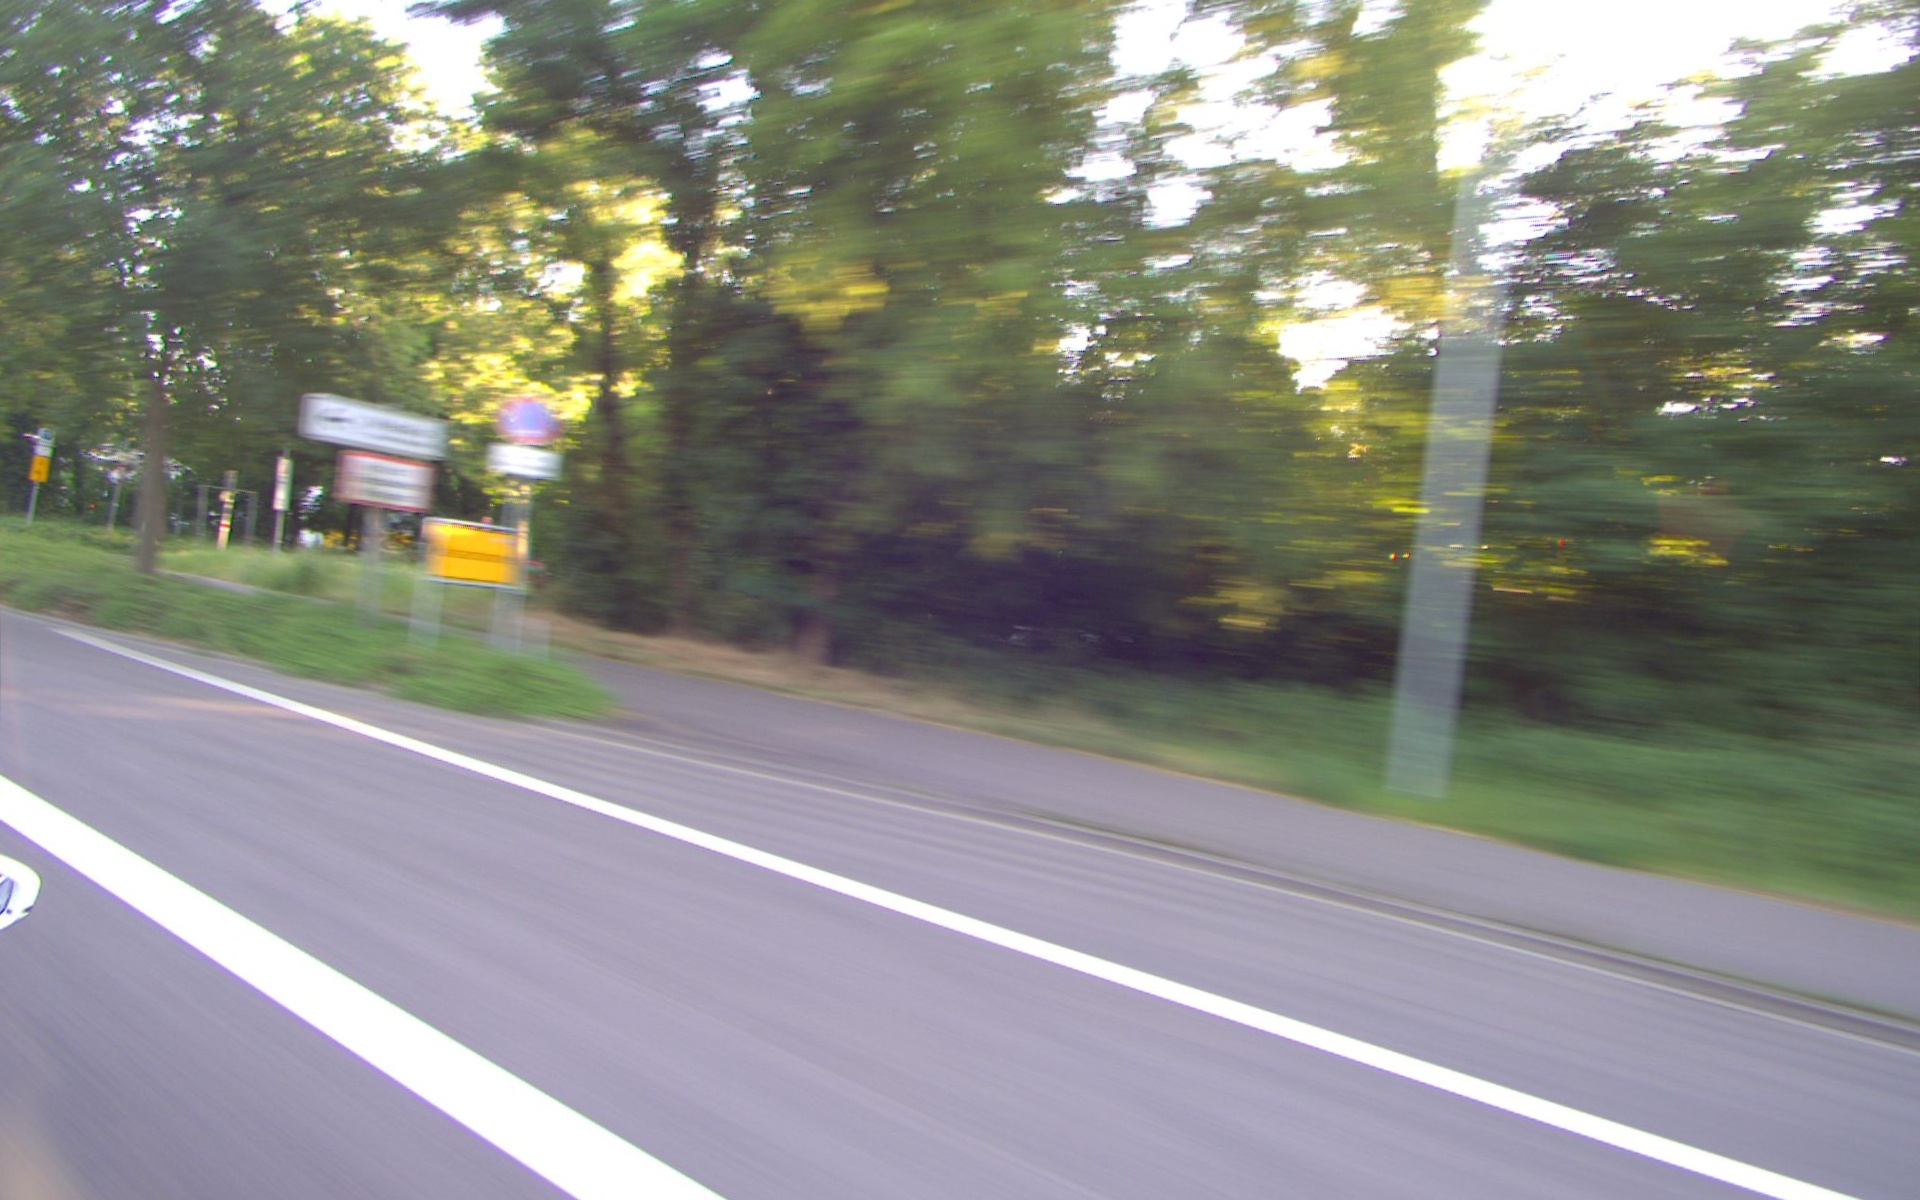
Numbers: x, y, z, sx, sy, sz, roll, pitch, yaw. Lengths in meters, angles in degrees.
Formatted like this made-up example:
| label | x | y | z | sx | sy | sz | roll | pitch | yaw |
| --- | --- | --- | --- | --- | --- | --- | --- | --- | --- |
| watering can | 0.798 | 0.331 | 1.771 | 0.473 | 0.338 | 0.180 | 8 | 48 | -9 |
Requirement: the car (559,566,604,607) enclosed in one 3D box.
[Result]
| label | x | y | z | sx | sy | sz | roll | pitch | yaw |
| --- | --- | --- | --- | --- | --- | --- | --- | --- | --- |
| car | -17.161 | -0.648 | 45.504 | 1.522 | 1.604 | 3.818 | 7 | 0 | -24 |

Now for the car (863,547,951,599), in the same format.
| label | x | y | z | sx | sy | sz | roll | pitch | yaw |
| --- | --- | --- | --- | --- | --- | --- | --- | --- | --- |
| car | -1.878 | -0.966 | 34.705 | 1.524 | 1.500 | 3.618 | 8 | -1 | -28 |

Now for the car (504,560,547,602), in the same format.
| label | x | y | z | sx | sy | sz | roll | pitch | yaw |
| --- | --- | --- | --- | --- | --- | --- | --- | --- | --- |
| car | -19.212 | -0.884 | 44.494 | 1.522 | 1.604 | 3.818 | 7 | 0 | -24 |
